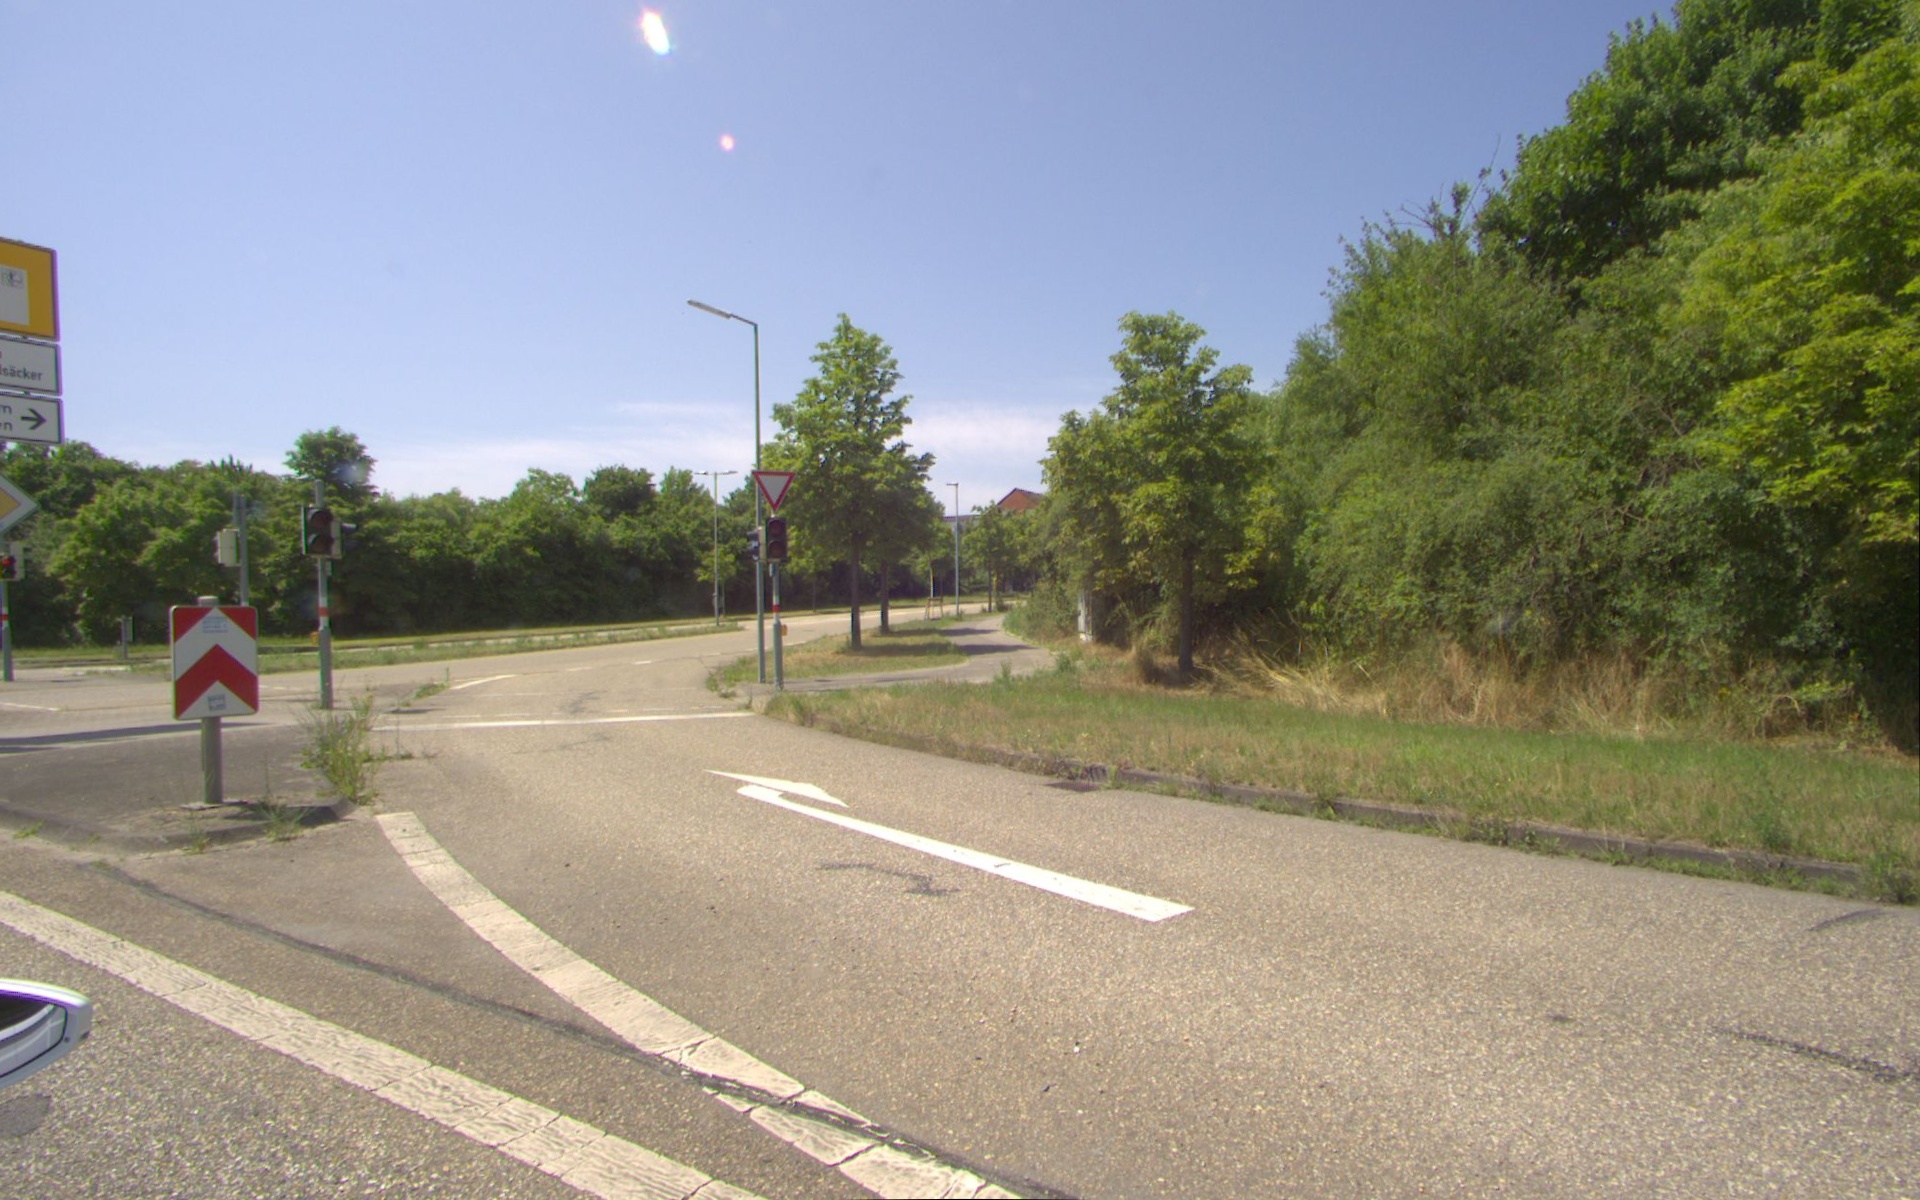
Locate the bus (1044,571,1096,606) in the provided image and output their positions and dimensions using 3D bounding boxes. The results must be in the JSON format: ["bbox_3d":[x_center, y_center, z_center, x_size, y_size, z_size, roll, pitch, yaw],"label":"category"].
[{"bbox_3d":[10.556,-1.021,94.964,2.584,3.127,12.060,0,0,18],"label":"bus"}]
